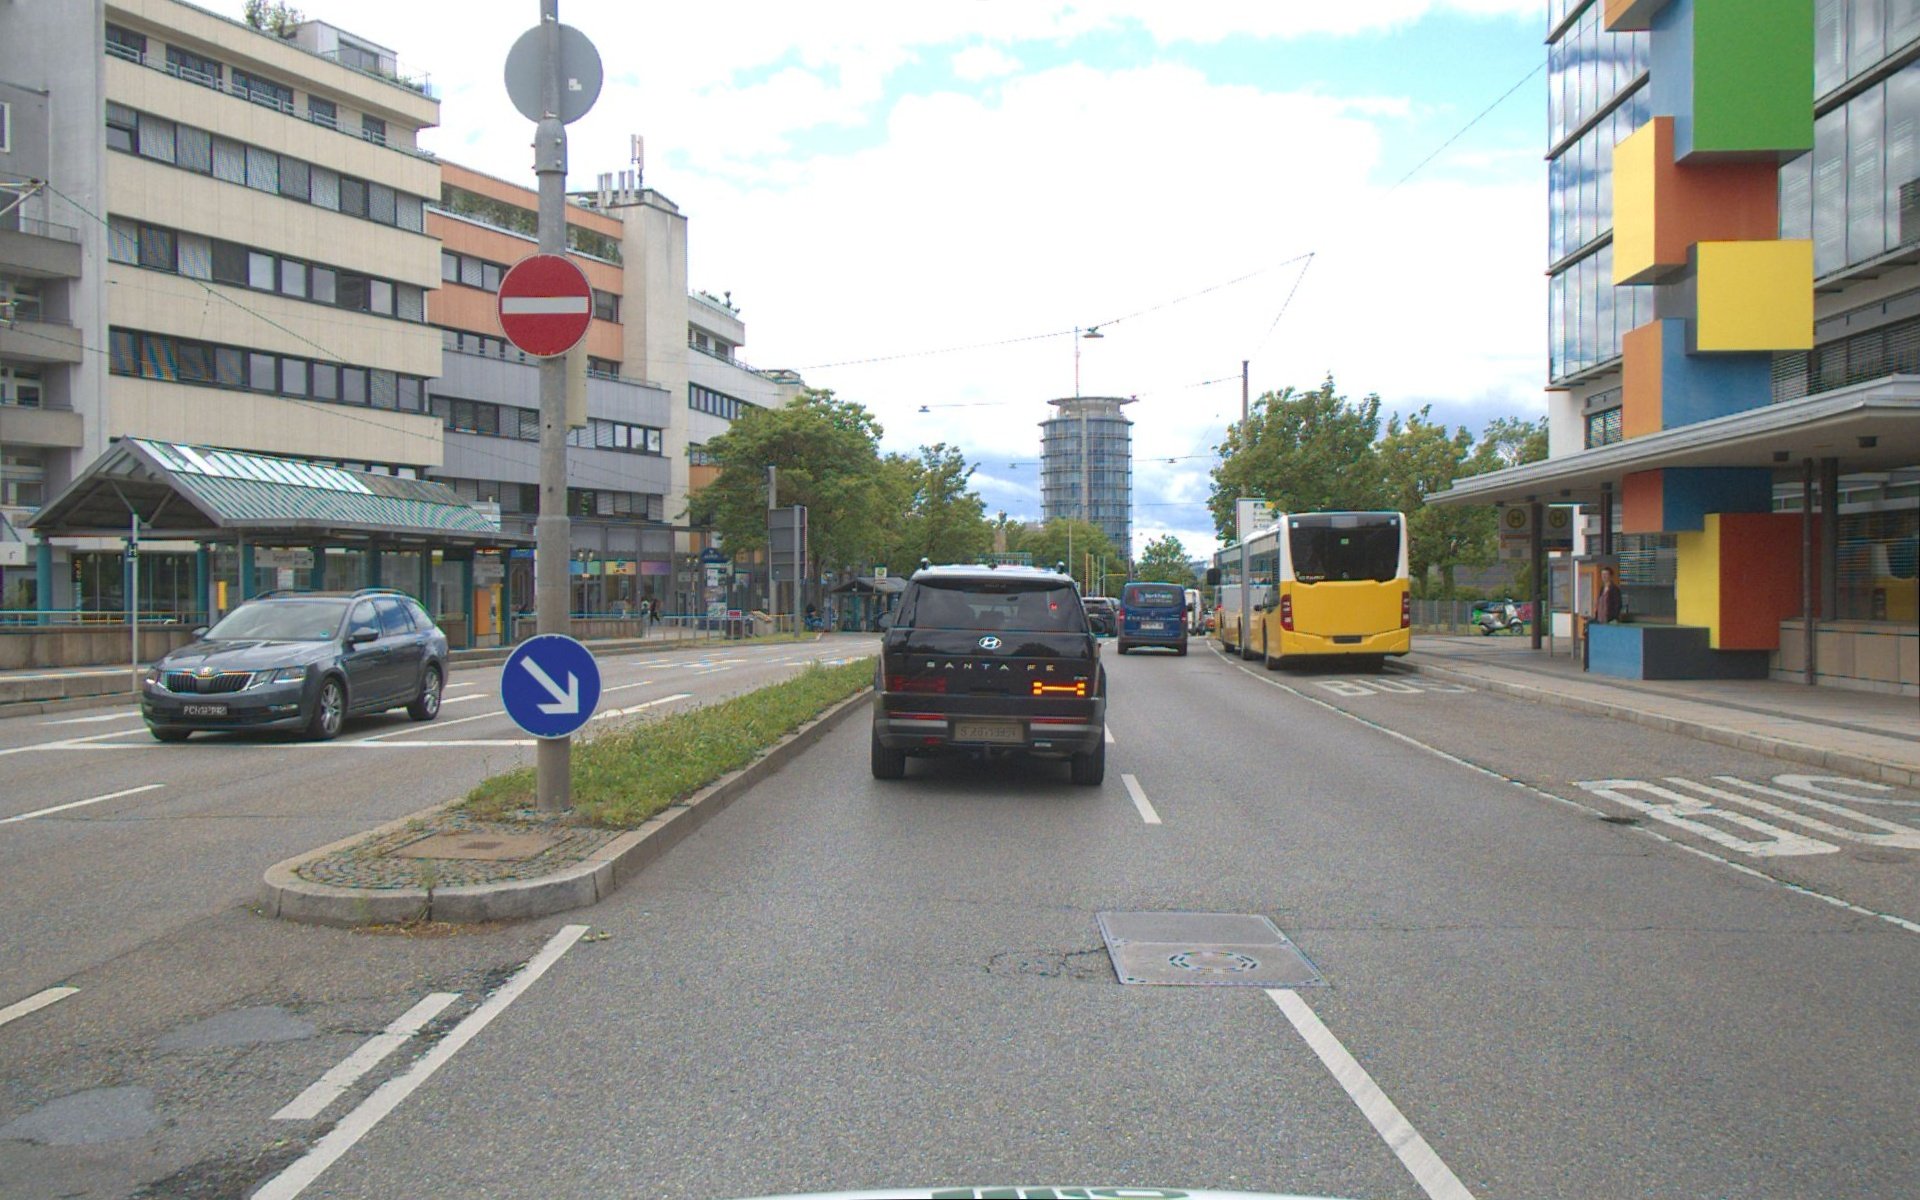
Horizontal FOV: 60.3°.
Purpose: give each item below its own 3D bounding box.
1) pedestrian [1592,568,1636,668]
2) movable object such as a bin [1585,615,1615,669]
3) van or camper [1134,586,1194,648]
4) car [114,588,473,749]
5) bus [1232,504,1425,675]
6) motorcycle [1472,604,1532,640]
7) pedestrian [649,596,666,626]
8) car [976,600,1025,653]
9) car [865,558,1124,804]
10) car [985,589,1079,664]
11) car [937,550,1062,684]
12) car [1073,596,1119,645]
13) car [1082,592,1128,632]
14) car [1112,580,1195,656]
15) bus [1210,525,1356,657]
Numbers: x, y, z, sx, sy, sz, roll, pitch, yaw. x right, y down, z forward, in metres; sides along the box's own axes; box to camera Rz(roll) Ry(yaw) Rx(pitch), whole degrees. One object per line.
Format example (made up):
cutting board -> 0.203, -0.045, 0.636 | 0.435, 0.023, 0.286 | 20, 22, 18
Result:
pedestrian -> 11.352, 0.306, 28.727 | 0.513, 1.702, 0.733 | 0, 0, 4
movable object such as a bin -> 10.885, 0.710, 28.131 | 0.348, 0.913, 0.462 | 0, 0, 4
van or camper -> 7.073, 0.546, 57.610 | 1.951, 1.951, 4.412 | 1, 2, 5
car -> -6.849, 0.624, 17.608 | 1.760, 1.480, 4.614 | 0, 0, 3
bus -> 7.753, -0.206, 36.017 | 2.903, 3.171, 9.250 | -1, 0, 5
motorcycle -> 16.854, 0.661, 51.439 | 0.627, 1.089, 1.757 | 0, 0, -35
pedestrian -> -17.089, 0.620, 93.431 | 0.716, 1.702, 0.582 | 0, 0, 24
car -> 1.650, 1.028, 66.528 | 1.862, 1.963, 4.711 | 1, 1, 2
car -> 0.334, 0.553, 14.361 | 1.862, 1.761, 4.448 | 1, 1, 2
car -> 1.639, 0.578, 39.144 | 1.864, 1.569, 4.708 | 1, 1, -2
car -> 0.660, 0.219, 27.457 | 1.863, 2.003, 4.637 | 1, 1, 1
car -> 5.756, 0.850, 70.336 | 1.862, 1.891, 4.712 | 1, 1, 4
car -> 7.201, 0.561, 81.717 | 1.861, 1.866, 4.714 | 1, 1, 9
car -> 5.218, 0.432, 45.178 | 1.862, 1.891, 4.711 | 1, 1, 2
bus -> 8.662, -0.231, 45.494 | 2.889, 3.166, 9.982 | -1, 0, 5
